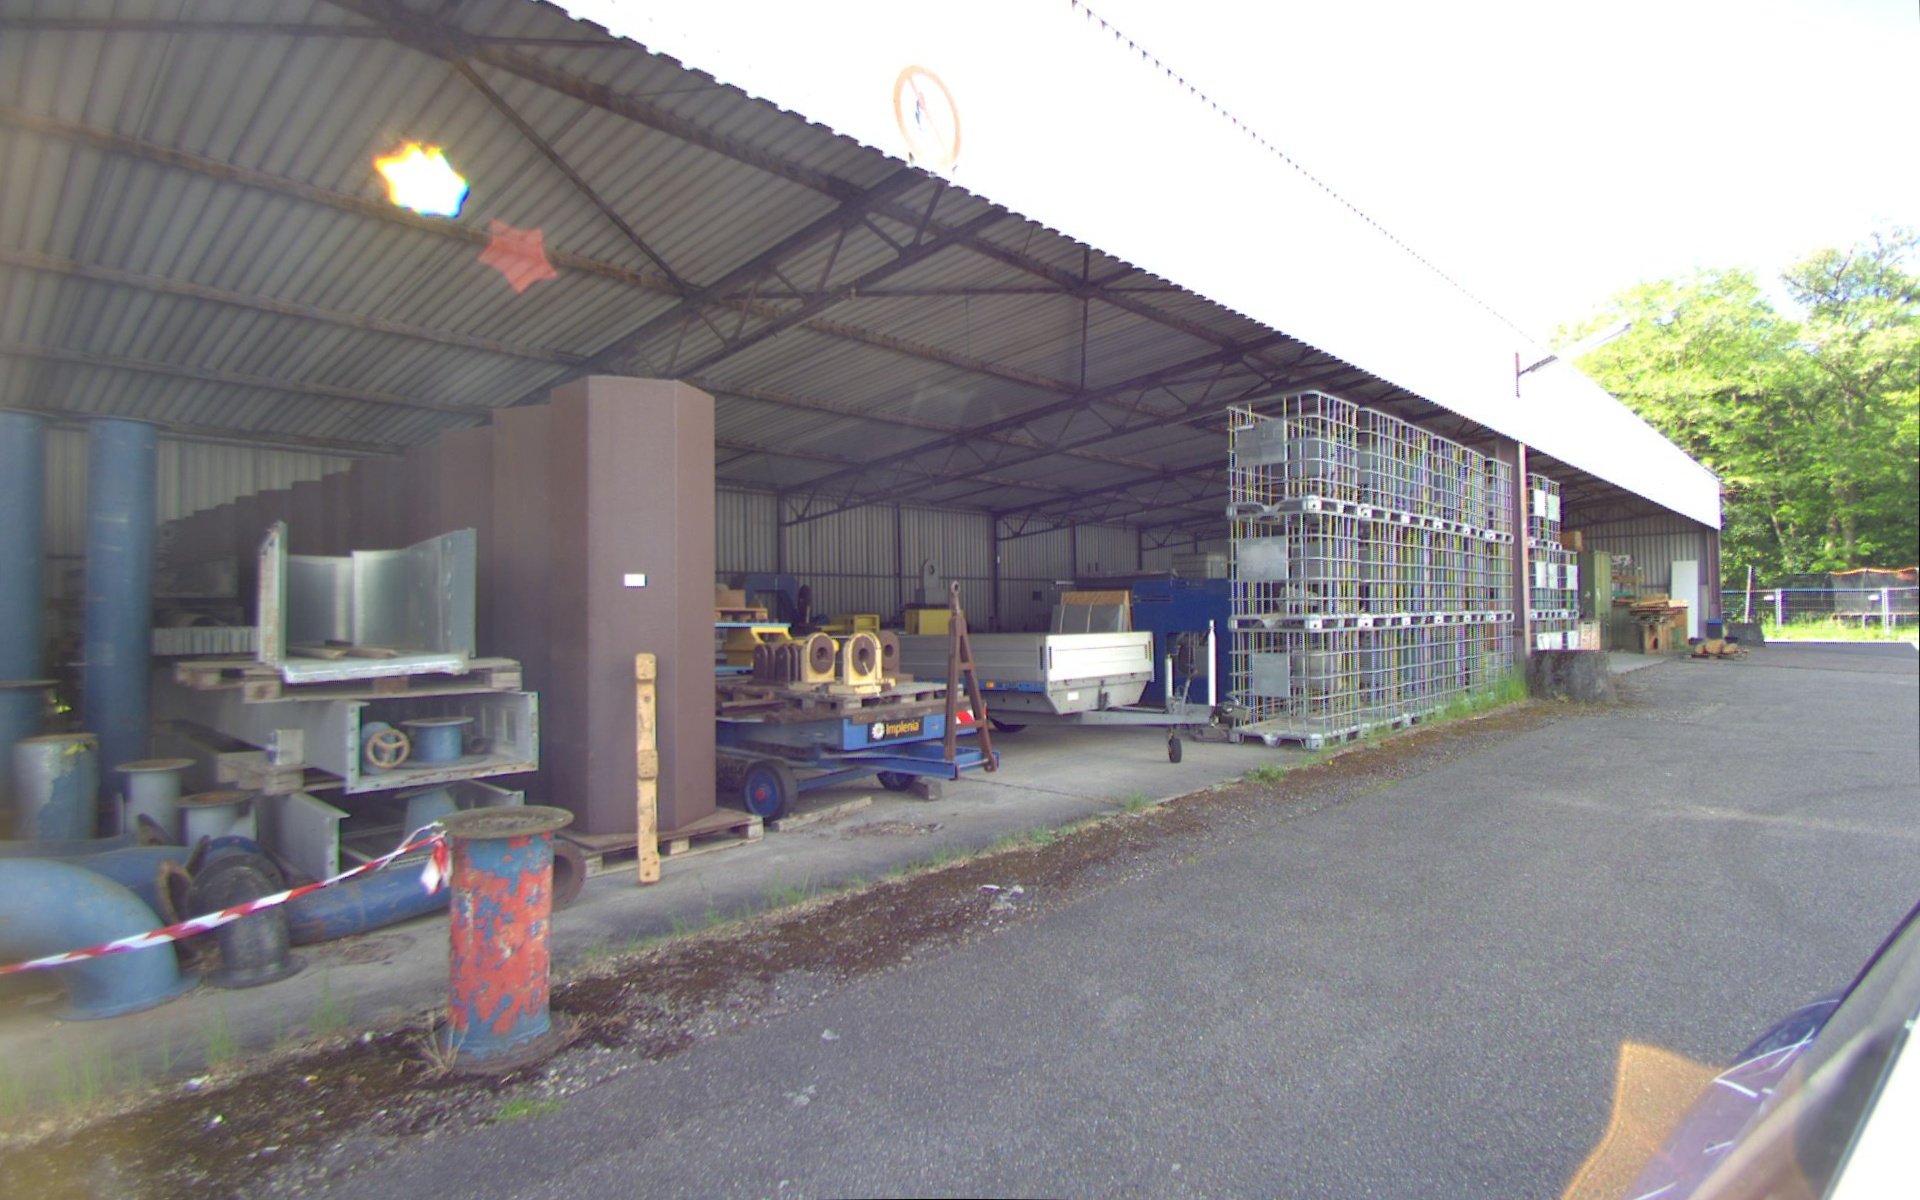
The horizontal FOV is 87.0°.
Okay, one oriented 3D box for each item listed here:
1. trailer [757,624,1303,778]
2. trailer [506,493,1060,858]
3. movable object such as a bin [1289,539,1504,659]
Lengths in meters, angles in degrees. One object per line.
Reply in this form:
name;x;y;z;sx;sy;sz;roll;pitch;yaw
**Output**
trailer;0.407;0.854;10.588;5.729;1.147;1.978;-1;-1;42
trailer;-1.695;0.407;8.063;2.013;2.022;4.821;0;0;-44
movable object such as a bin;10.918;-0.008;25.508;4.611;2.757;1.970;0;-1;42
